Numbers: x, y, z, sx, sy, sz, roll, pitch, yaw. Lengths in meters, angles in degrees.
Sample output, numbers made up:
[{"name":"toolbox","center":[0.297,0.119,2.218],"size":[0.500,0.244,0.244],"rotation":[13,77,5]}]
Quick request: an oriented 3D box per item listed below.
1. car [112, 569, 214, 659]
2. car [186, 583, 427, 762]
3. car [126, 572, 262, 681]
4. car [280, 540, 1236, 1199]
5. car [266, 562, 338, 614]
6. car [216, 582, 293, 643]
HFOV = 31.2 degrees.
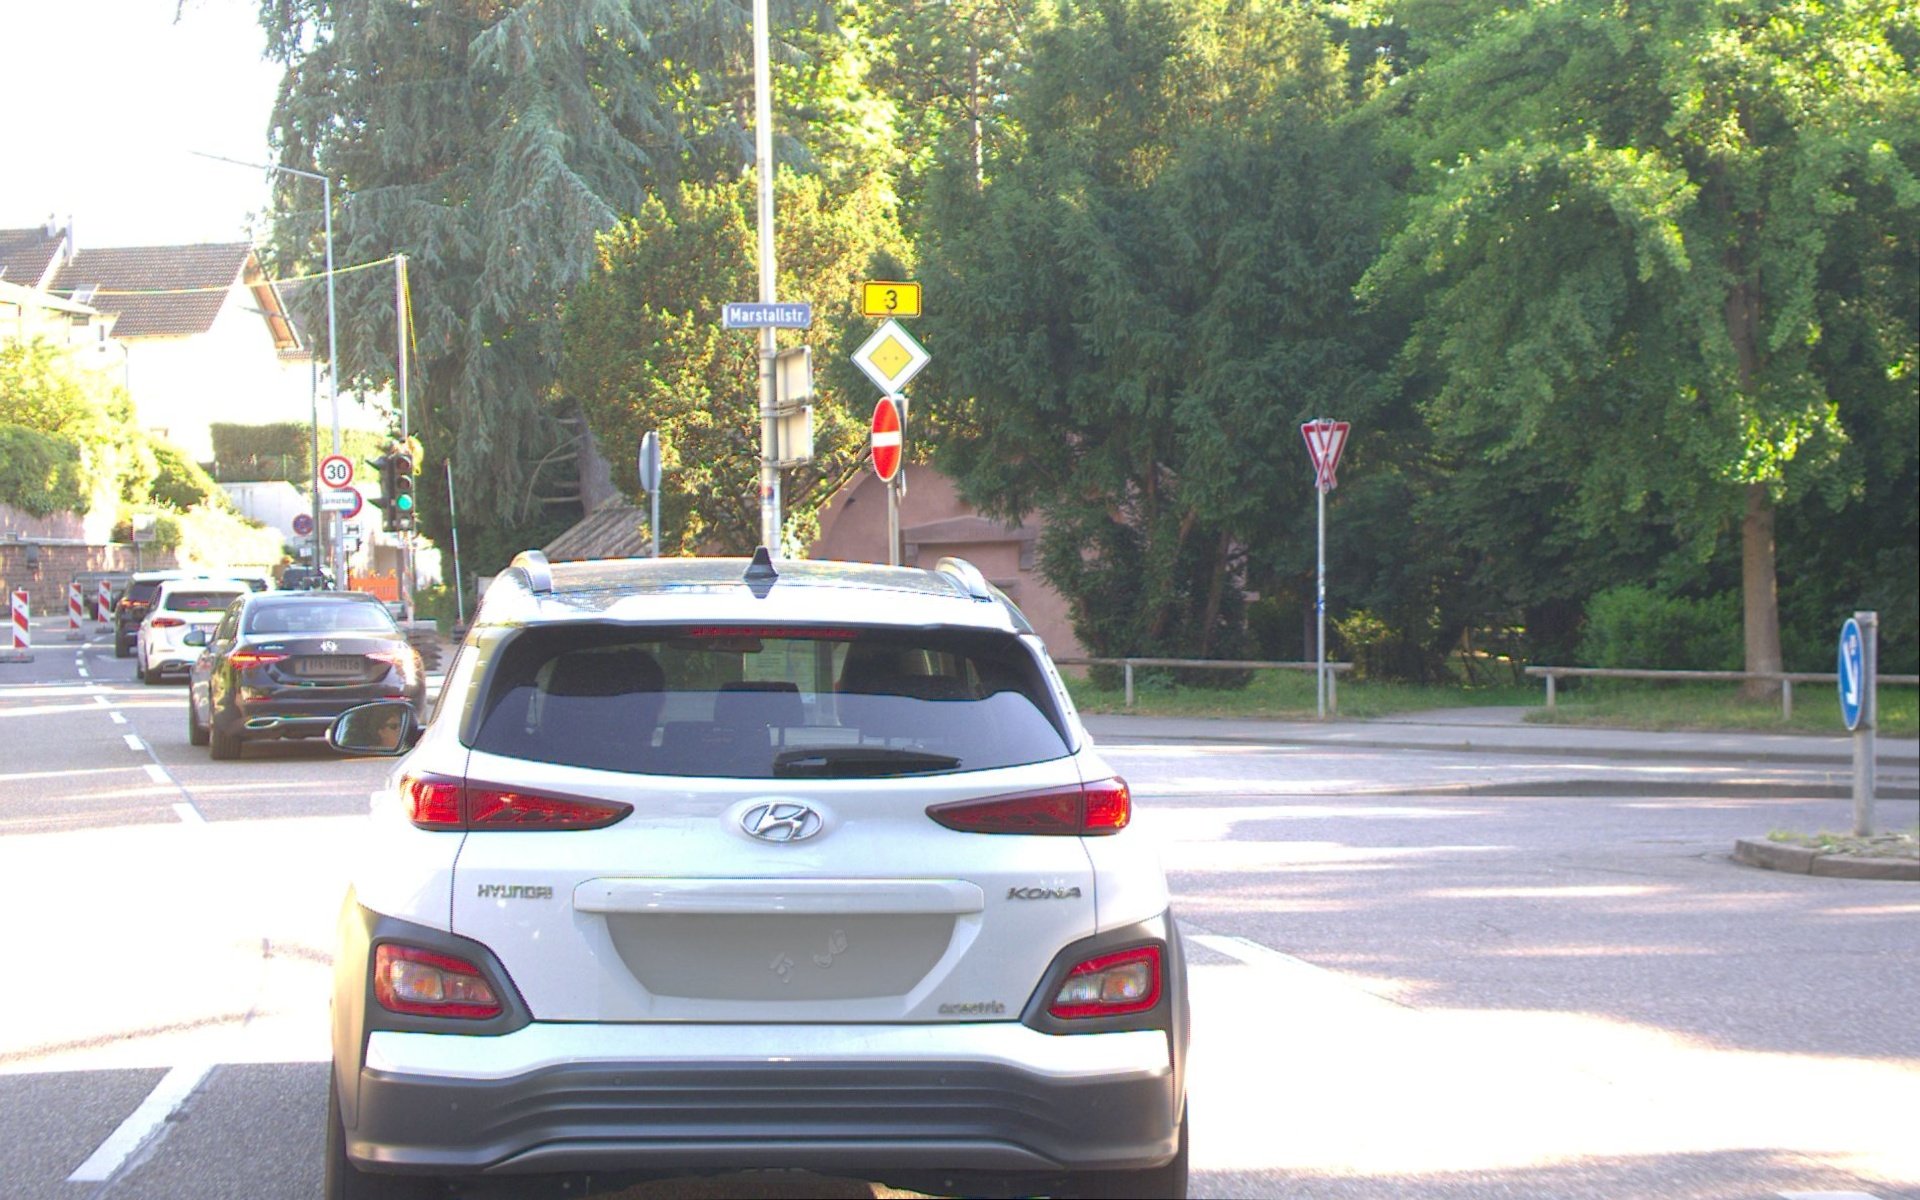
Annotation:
[{"name":"car","center":[-15.406,0.243,66.473],"size":[1.831,1.656,4.001],"rotation":[1,1,-13]},{"name":"car","center":[-5.883,0.594,30.610],"size":[1.707,1.429,4.366],"rotation":[1,1,-16]},{"name":"car","center":[-11.545,0.372,51.652],"size":[1.805,1.532,4.001],"rotation":[1,1,-15]},{"name":"car","center":[-0.598,0.661,8.605],"size":[1.820,1.568,4.001],"rotation":[1,1,-6]},{"name":"car","center":[-21.556,-0.416,112.712],"size":[1.831,1.656,4.001],"rotation":[1,1,-4]},{"name":"car","center":[-20.190,0.348,98.487],"size":[1.831,1.656,4.001],"rotation":[1,1,-7]}]
